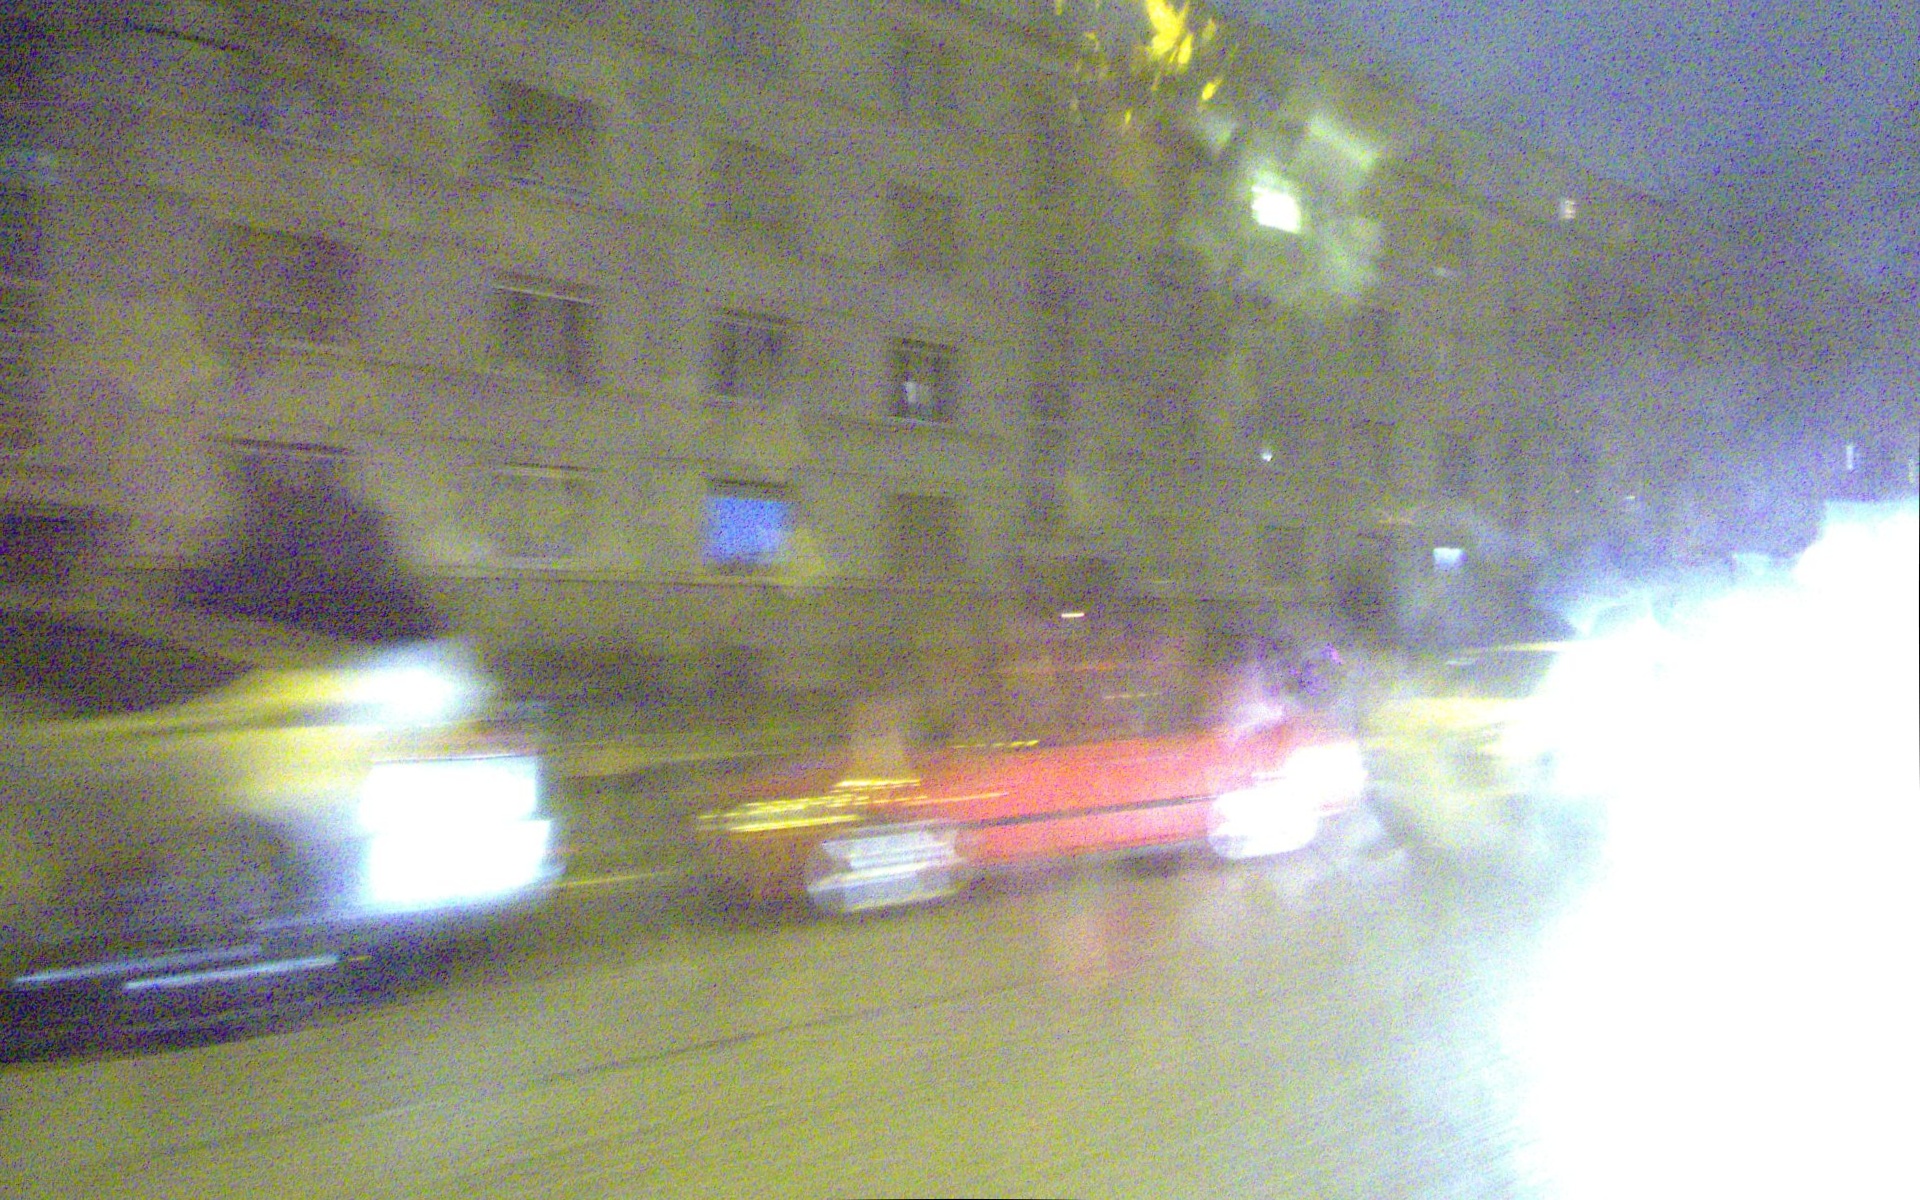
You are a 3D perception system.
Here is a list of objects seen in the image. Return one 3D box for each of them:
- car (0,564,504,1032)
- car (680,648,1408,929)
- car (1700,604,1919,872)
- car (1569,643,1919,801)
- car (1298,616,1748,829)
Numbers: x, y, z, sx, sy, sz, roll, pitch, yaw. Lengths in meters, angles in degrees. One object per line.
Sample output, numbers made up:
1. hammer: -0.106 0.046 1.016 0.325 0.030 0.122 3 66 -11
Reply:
1. car: -4.110 0.662 3.644 4.344 1.492 1.787 1 -3 -30
2. car: 0.645 0.991 6.681 4.579 1.284 1.832 1 -3 -28
3. car: 7.354 0.845 7.140 4.317 1.560 1.699 1 -3 -29
4. car: 8.972 1.226 11.229 4.618 1.437 1.613 1 -3 -29
5. car: 5.162 0.968 9.137 4.009 1.560 1.699 1 -3 -29
